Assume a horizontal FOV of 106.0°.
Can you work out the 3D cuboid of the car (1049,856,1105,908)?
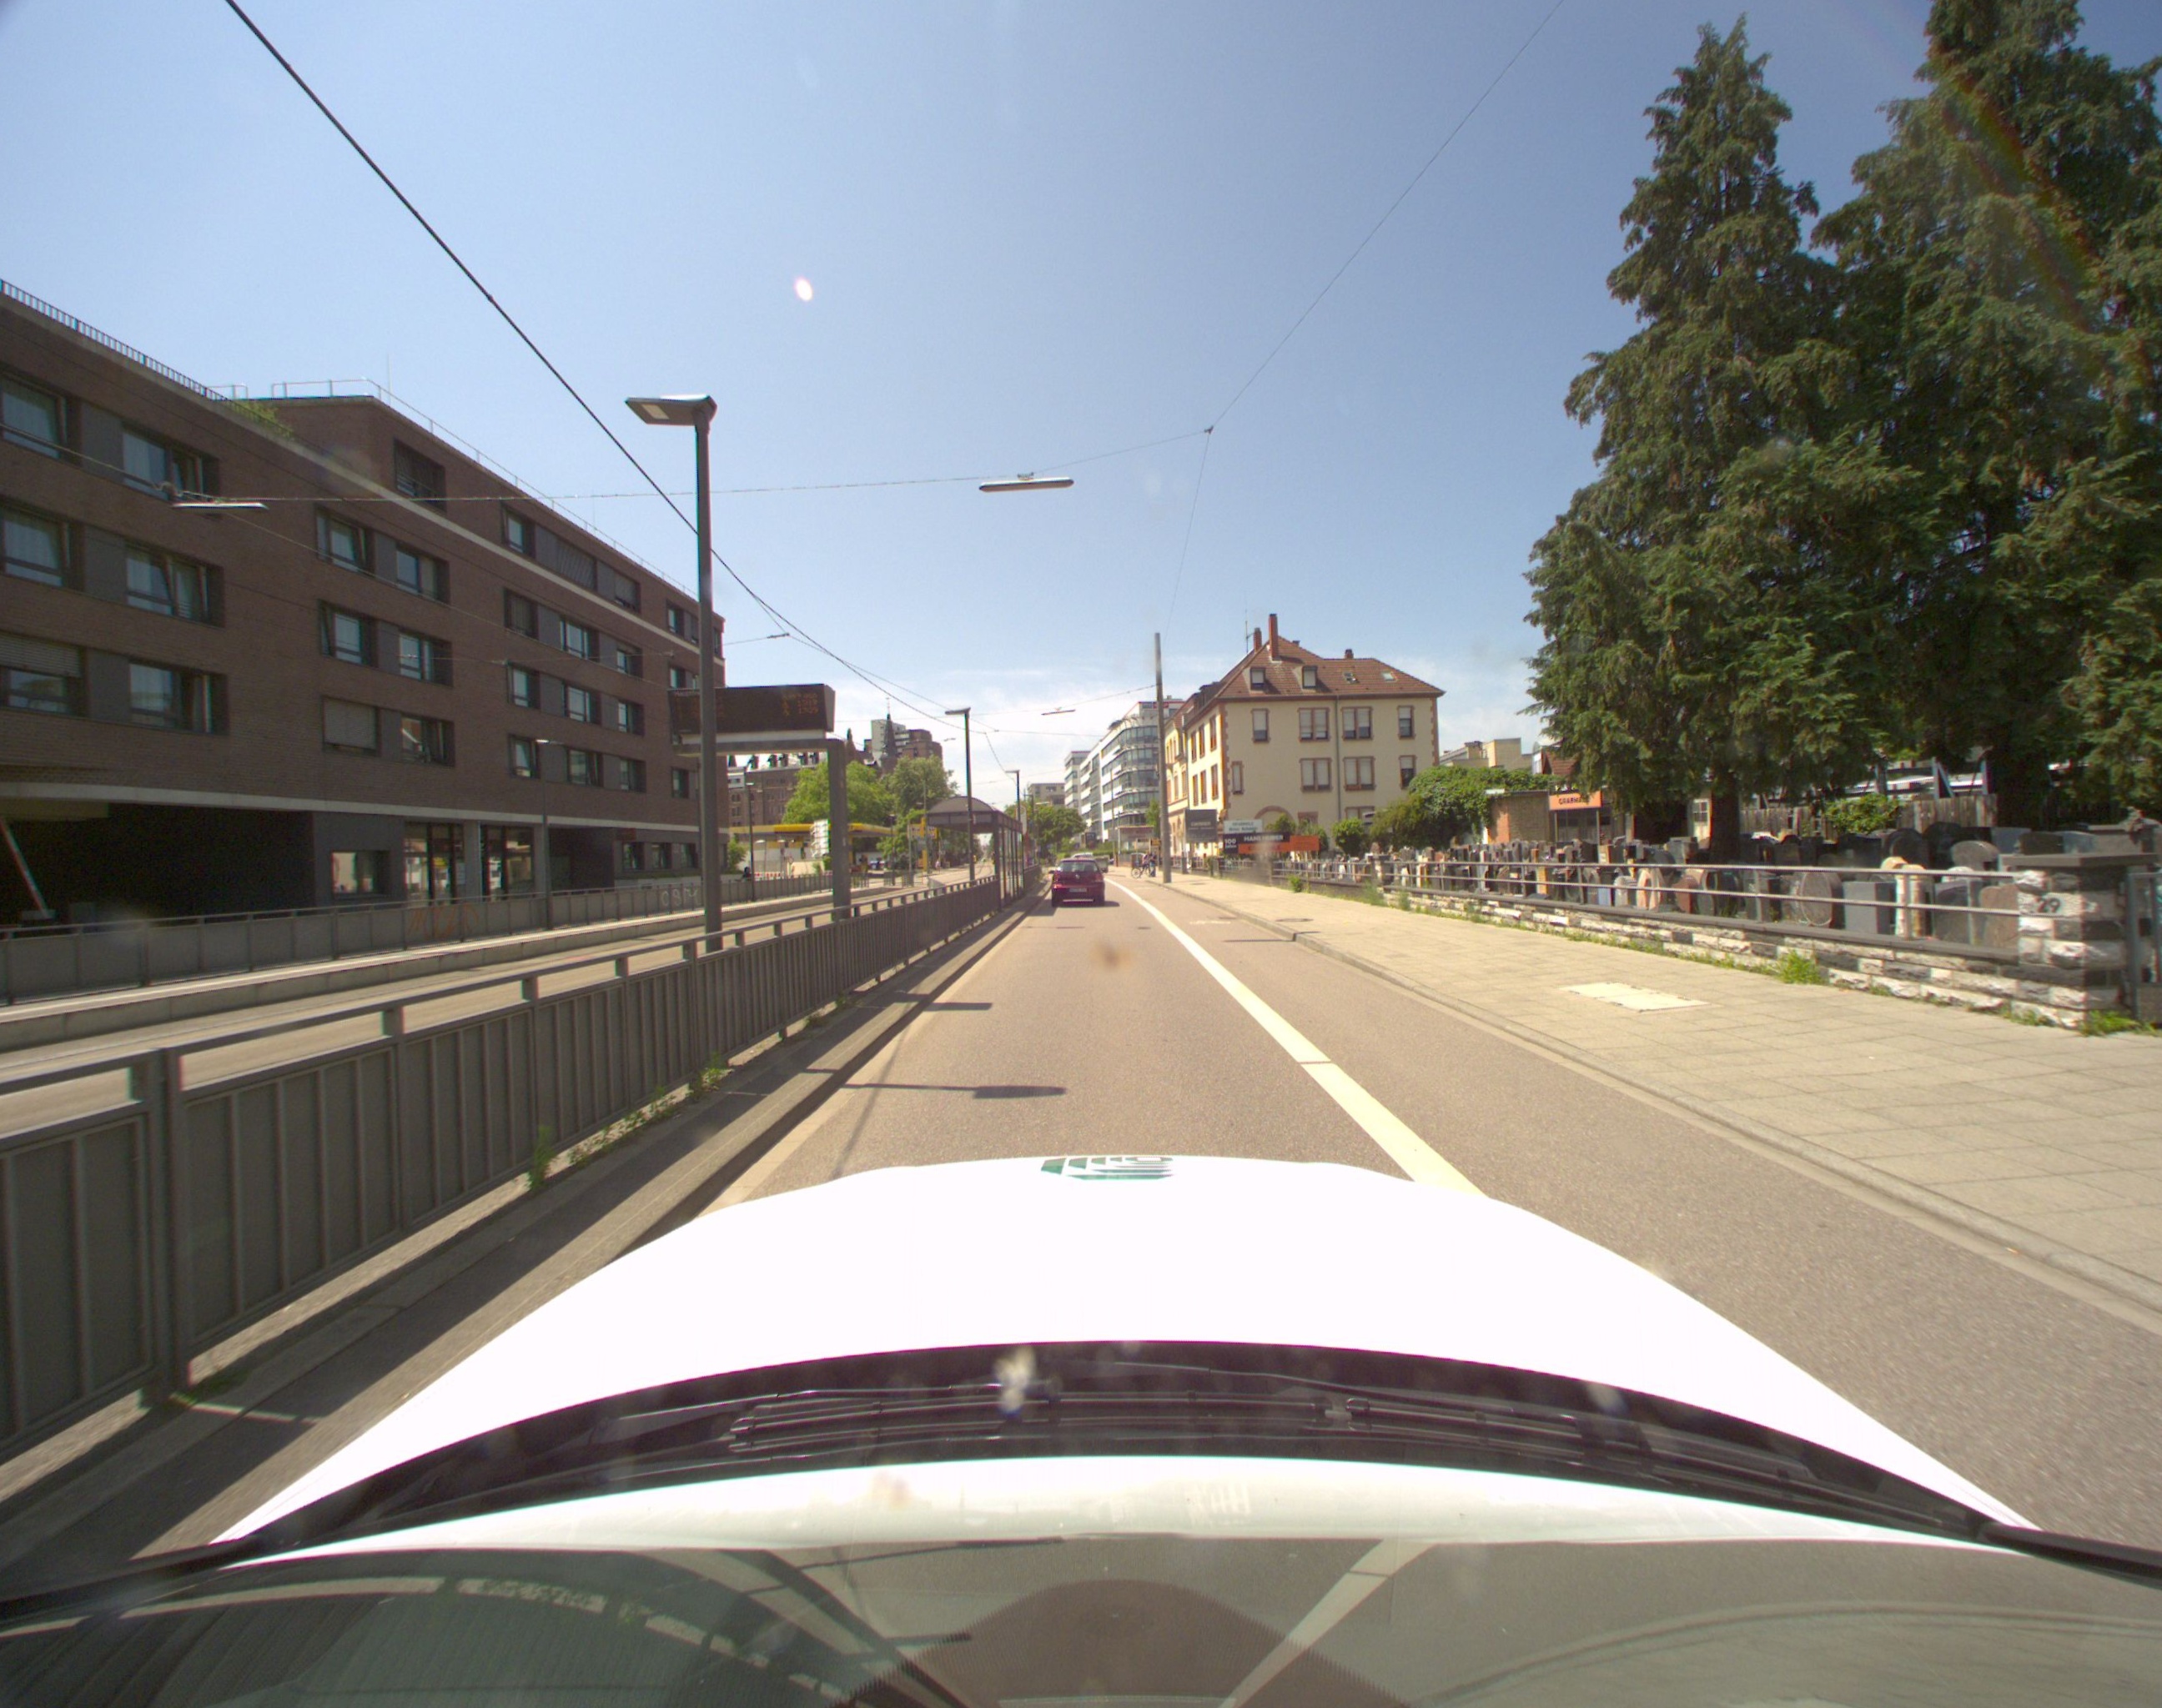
[{"bbox_3d":[-0.068,0.822,25.802,1.613,1.486,4.001,-1,0,1],"label":"car"}]

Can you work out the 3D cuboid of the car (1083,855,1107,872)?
[{"bbox_3d":[1.410,0.979,84.389,1.770,1.548,4.457,-4,0,-6],"label":"car"}]

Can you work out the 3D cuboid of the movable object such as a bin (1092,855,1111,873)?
[{"bbox_3d":[1.835,0.915,73.073,1.392,1.455,1.135,-5,0,-10],"label":"movable object such as a bin"}]

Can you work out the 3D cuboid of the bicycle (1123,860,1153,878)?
[{"bbox_3d":[3.692,0.979,52.566,1.785,1.127,0.593,-2,0,25],"label":"bicycle"}]

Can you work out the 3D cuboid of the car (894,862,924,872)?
[{"bbox_3d":[-26.425,1.949,125.104,1.910,1.488,4.479,-1,0,33],"label":"car"}]

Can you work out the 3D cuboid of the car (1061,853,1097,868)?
[{"bbox_3d":[-0.293,0.837,106.244,4.533,1.799,1.996,-2,0,-7],"label":"car"}]

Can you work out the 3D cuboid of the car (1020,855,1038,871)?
[{"bbox_3d":[-6.702,1.108,104.041,1.992,2.013,3.989,-1,0,-8],"label":"car"}]

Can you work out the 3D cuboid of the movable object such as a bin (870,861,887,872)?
[{"bbox_3d":[-30.886,1.917,124.325,1.509,1.509,2.109,-1,0,17],"label":"movable object such as a bin"}]

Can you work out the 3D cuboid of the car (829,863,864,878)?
[{"bbox_3d":[-26.734,1.856,92.799,1.811,1.504,4.218,0,1,16],"label":"car"}]

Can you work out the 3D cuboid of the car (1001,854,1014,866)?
[{"bbox_3d":[-12.032,0.971,133.905,1.991,1.739,3.991,-3,0,-6],"label":"car"}]

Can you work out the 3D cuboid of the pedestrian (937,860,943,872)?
[{"bbox_3d":[-19.471,1.687,112.595,0.627,1.691,0.717,-2,0,-20],"label":"pedestrian"}]

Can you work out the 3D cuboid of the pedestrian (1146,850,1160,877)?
[{"bbox_3d":[4.541,0.587,51.279,0.819,1.691,0.590,-2,0,8],"label":"pedestrian"}]

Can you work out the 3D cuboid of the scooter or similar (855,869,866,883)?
[{"bbox_3d":[-20.223,2.010,74.732,0.342,1.264,1.248,-1,0,18],"label":"scooter or similar"}]

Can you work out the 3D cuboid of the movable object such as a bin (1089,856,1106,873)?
[{"bbox_3d":[1.529,0.922,75.229,1.324,1.455,1.054,-5,0,-10],"label":"movable object such as a bin"}]

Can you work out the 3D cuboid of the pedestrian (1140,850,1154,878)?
[{"bbox_3d":[4.264,0.653,52.780,0.681,1.772,0.506,-2,0,31],"label":"pedestrian"}]

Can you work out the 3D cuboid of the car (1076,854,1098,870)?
[{"bbox_3d":[0.641,0.884,90.715,1.922,1.693,5.072,-4,0,-5],"label":"car"}]

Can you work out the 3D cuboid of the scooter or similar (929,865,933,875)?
[{"bbox_3d":[-18.288,1.967,99.273,0.518,1.200,1.372,-1,0,-9],"label":"scooter or similar"}]
